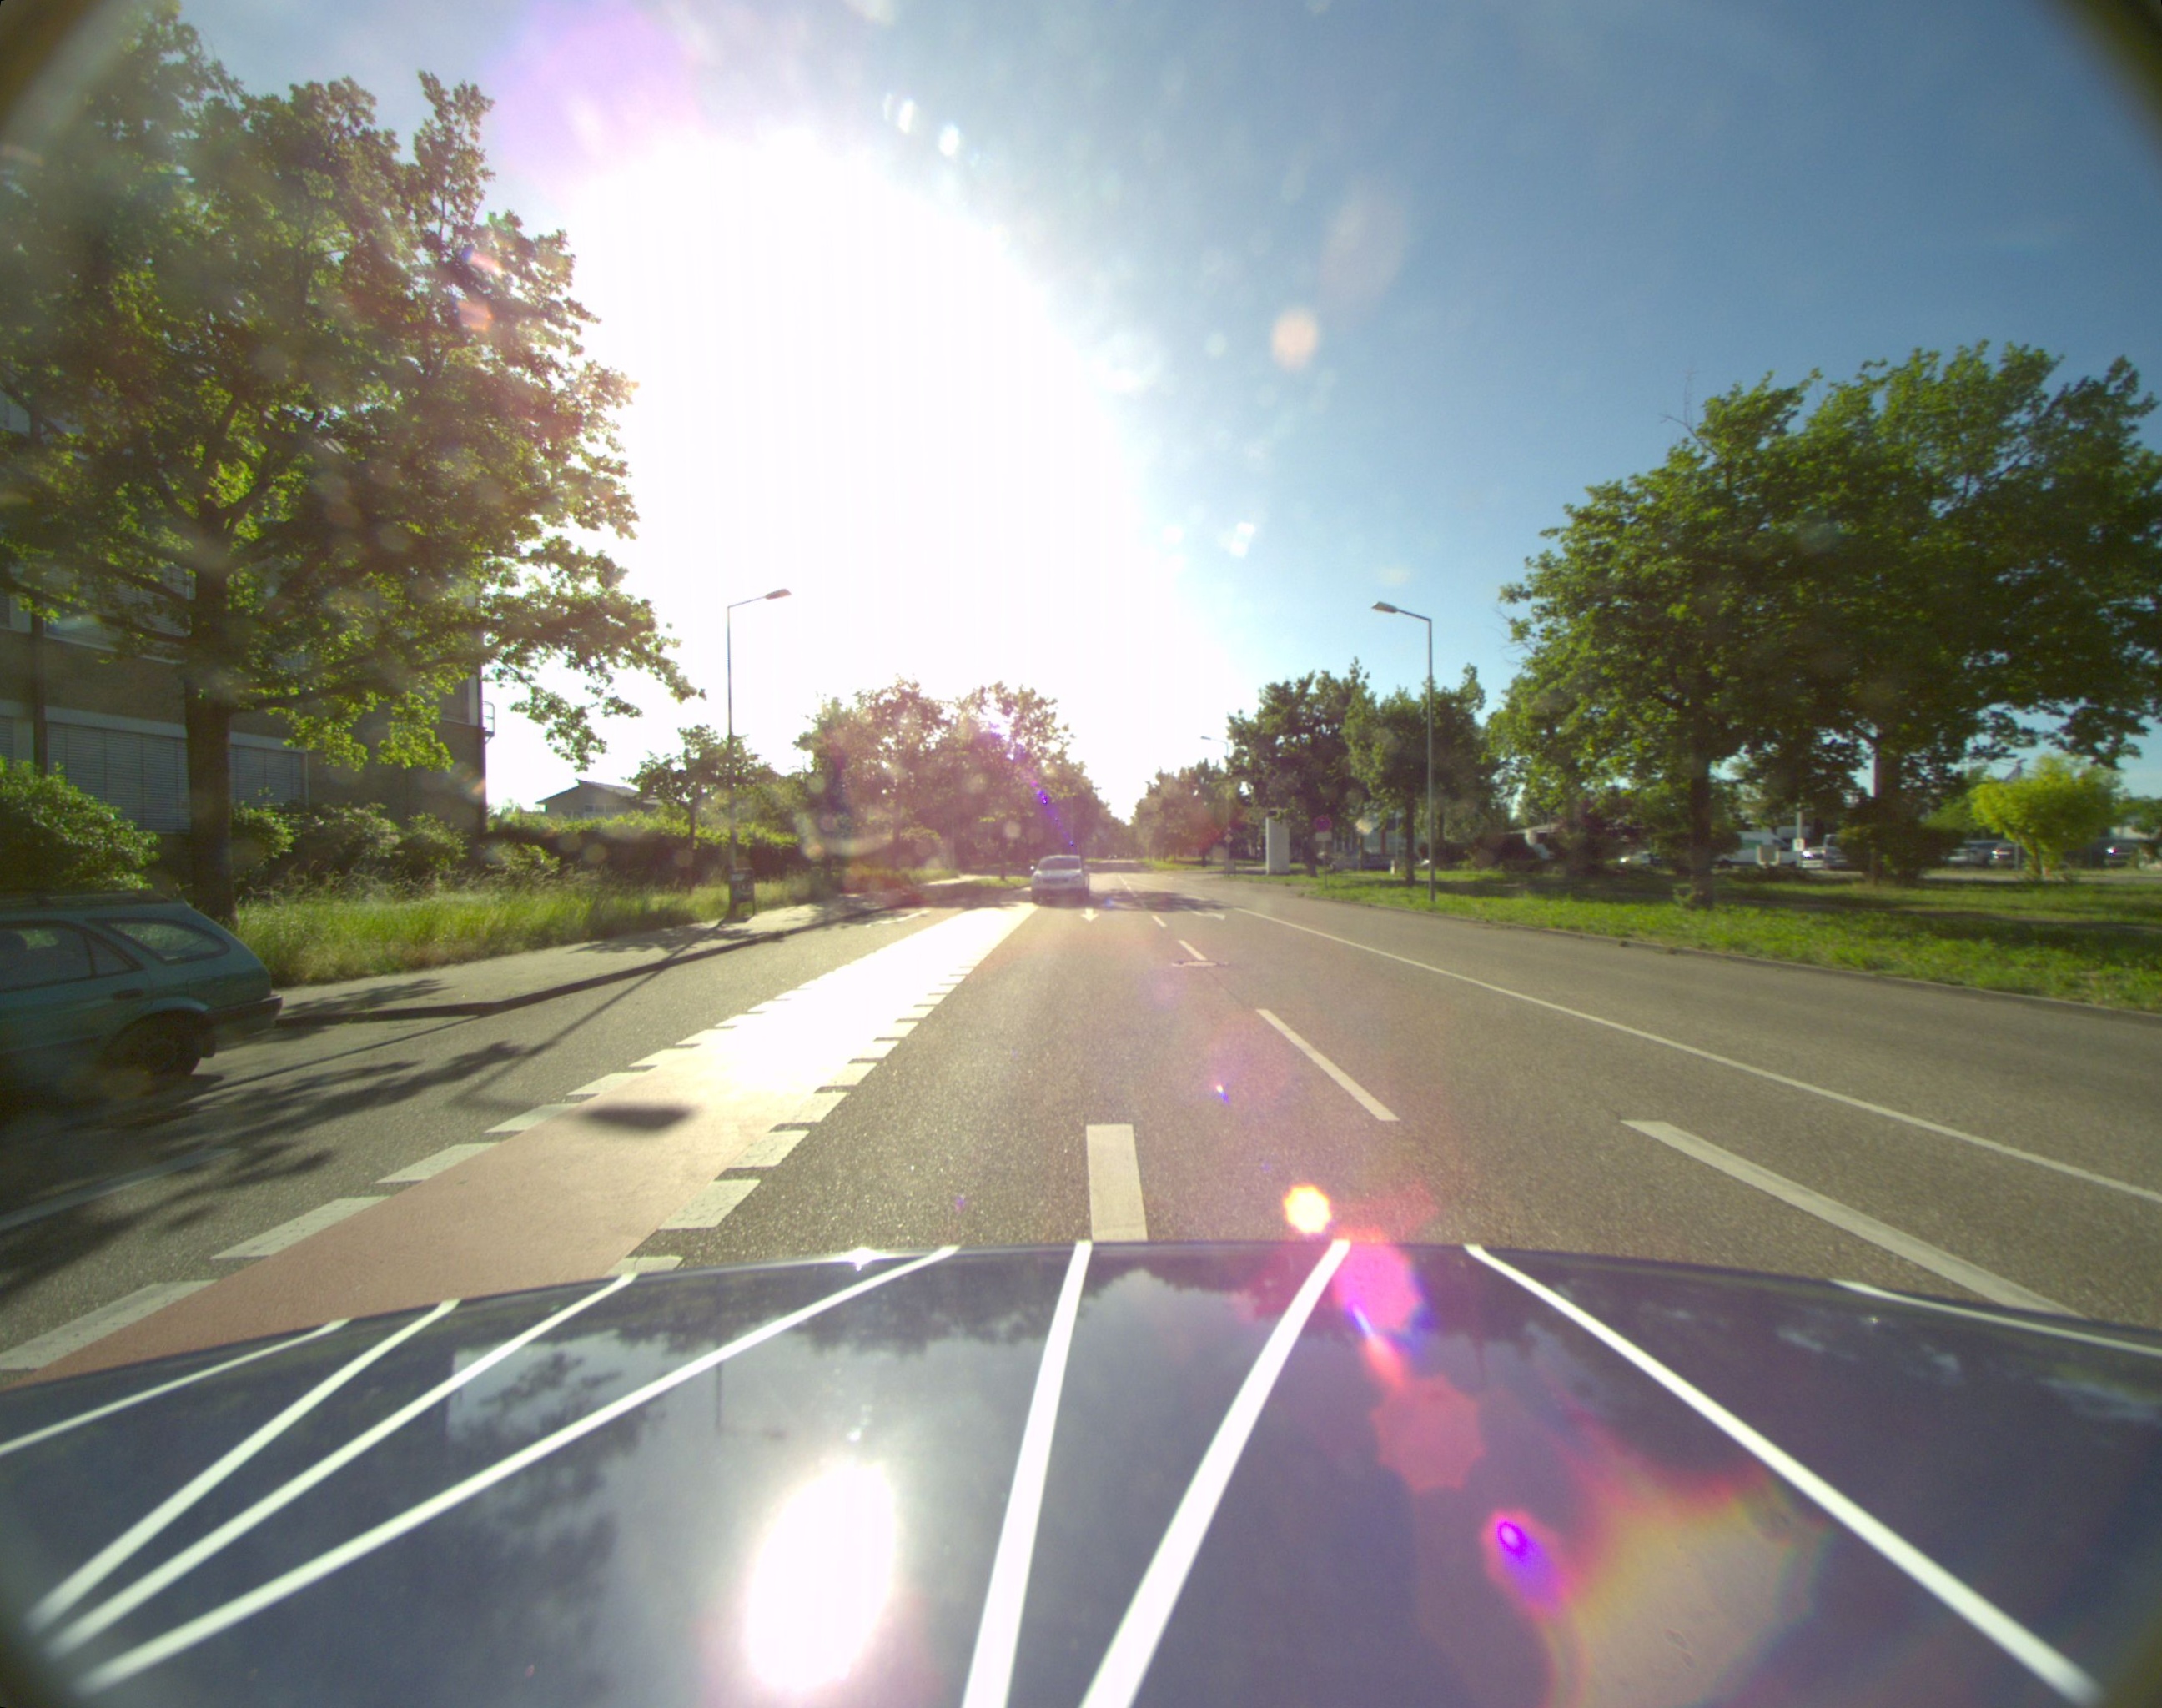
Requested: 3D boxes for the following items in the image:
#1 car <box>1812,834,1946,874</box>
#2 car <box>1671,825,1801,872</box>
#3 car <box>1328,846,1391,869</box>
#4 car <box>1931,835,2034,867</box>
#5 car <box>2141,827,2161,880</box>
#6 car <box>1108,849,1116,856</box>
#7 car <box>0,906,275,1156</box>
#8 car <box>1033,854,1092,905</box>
[{"bbox_3d":[40.051,-0.002,38.214,4.642,1.771,1.990,-2,1,0],"label":"car"},{"bbox_3d":[39.889,-0.335,46.391,6.023,2.540,2.409,-2,1,-4],"label":"car"},{"bbox_3d":[23.917,0.300,65.363,4.637,1.822,2.000,-2,1,0],"label":"car"},{"bbox_3d":[52.078,-0.204,43.954,3.860,1.661,1.762,-2,1,0],"label":"car"},{"bbox_3d":[33.879,-0.083,22.033,3.817,1.562,1.736,-2,-1,0],"label":"car"},{"bbox_3d":[6.793,-0.315,166.898,1.653,1.460,3.941,-1,0,2],"label":"car"},{"bbox_3d":[-7.533,1.135,4.211,1.706,1.460,4.141,-1,-1,0],"label":"car"},{"bbox_3d":[-0.586,0.840,26.847,1.721,1.598,4.068,-2,0,3],"label":"car"}]
